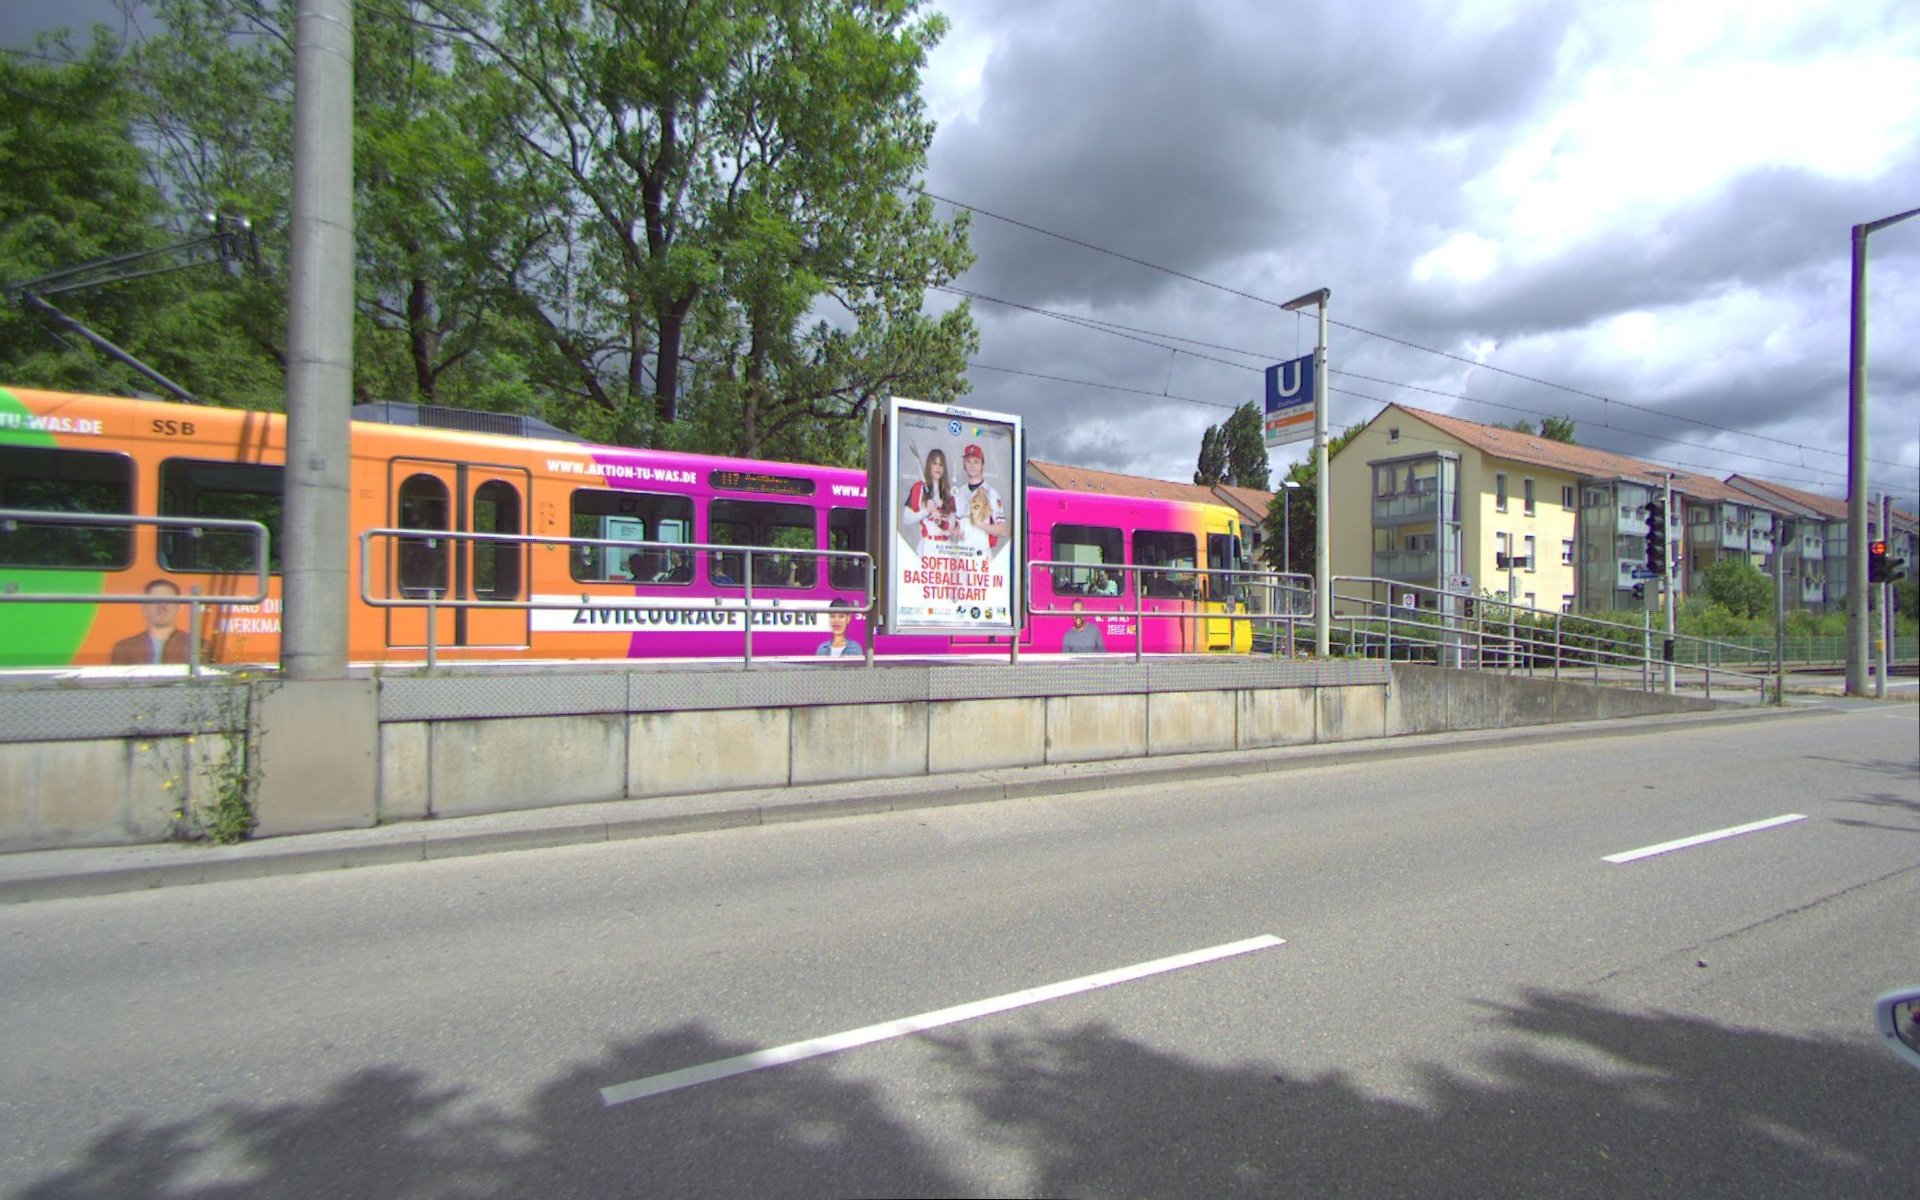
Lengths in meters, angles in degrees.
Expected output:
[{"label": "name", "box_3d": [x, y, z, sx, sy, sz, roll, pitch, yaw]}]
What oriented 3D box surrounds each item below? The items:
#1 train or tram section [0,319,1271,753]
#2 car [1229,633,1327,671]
[{"label": "train or tram section", "box_3d": [-2.977, -0.405, 14.403, 18.332, 3.914, 2.964, 2, 0, -32]}, {"label": "car", "box_3d": [13.852, 2.305, 43.939, 1.972, 1.485, 3.980, 1, -5, -23]}]
